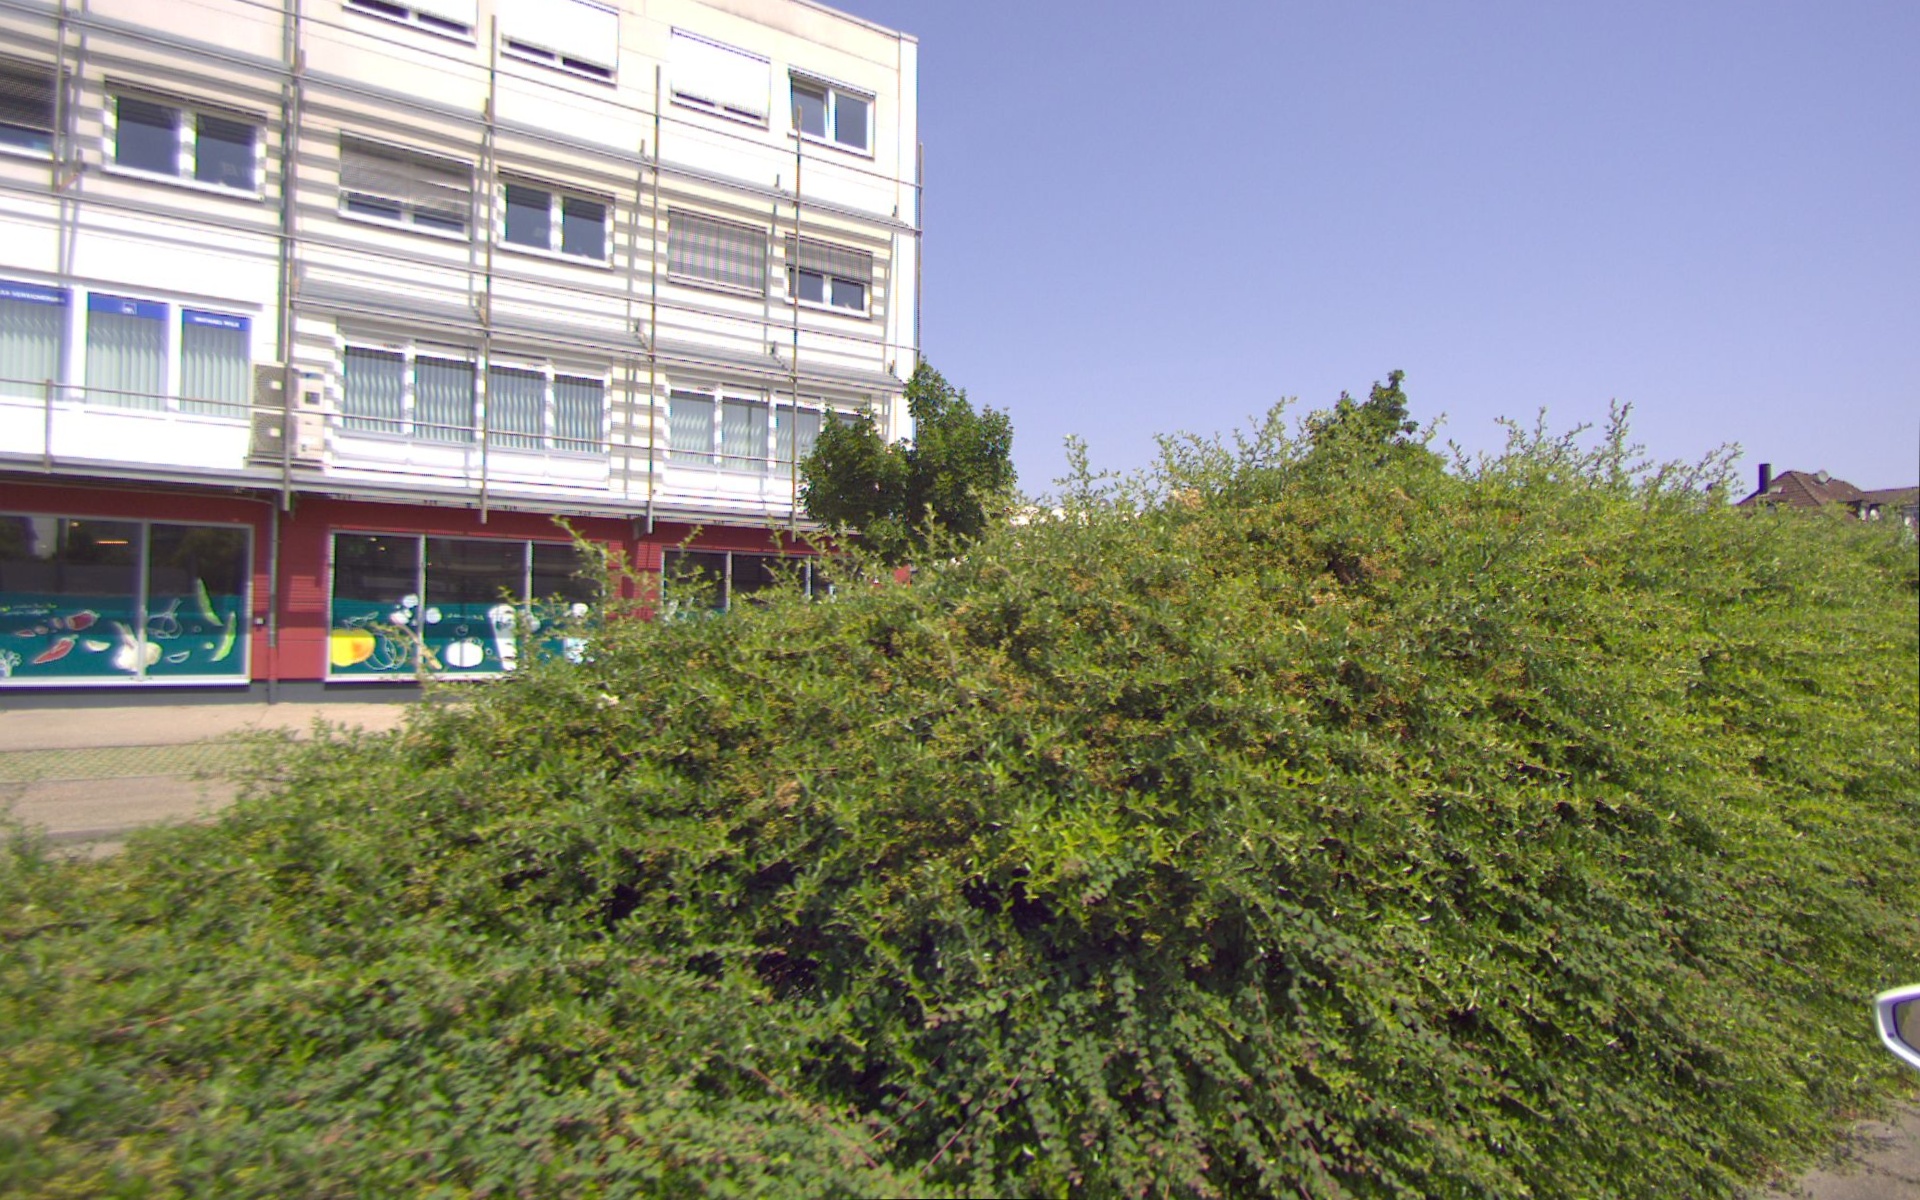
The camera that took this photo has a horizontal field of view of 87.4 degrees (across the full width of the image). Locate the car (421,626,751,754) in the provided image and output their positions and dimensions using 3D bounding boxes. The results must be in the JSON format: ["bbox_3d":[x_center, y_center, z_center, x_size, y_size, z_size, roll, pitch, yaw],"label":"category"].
[{"bbox_3d":[-5.097,1.157,13.843,3.998,1.514,1.669,2,-1,-32],"label":"car"}]

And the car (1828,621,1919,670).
[{"bbox_3d":[40.710,1.987,43.775,1.979,2.040,3.964,4,-2,-33],"label":"car"}]

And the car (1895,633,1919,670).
[{"bbox_3d":[47.884,2.546,48.301,1.917,1.751,3.964,4,-2,-33],"label":"car"}]

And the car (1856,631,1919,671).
[{"bbox_3d":[43.007,2.316,44.955,1.869,1.686,3.964,4,-2,-33],"label":"car"}]
